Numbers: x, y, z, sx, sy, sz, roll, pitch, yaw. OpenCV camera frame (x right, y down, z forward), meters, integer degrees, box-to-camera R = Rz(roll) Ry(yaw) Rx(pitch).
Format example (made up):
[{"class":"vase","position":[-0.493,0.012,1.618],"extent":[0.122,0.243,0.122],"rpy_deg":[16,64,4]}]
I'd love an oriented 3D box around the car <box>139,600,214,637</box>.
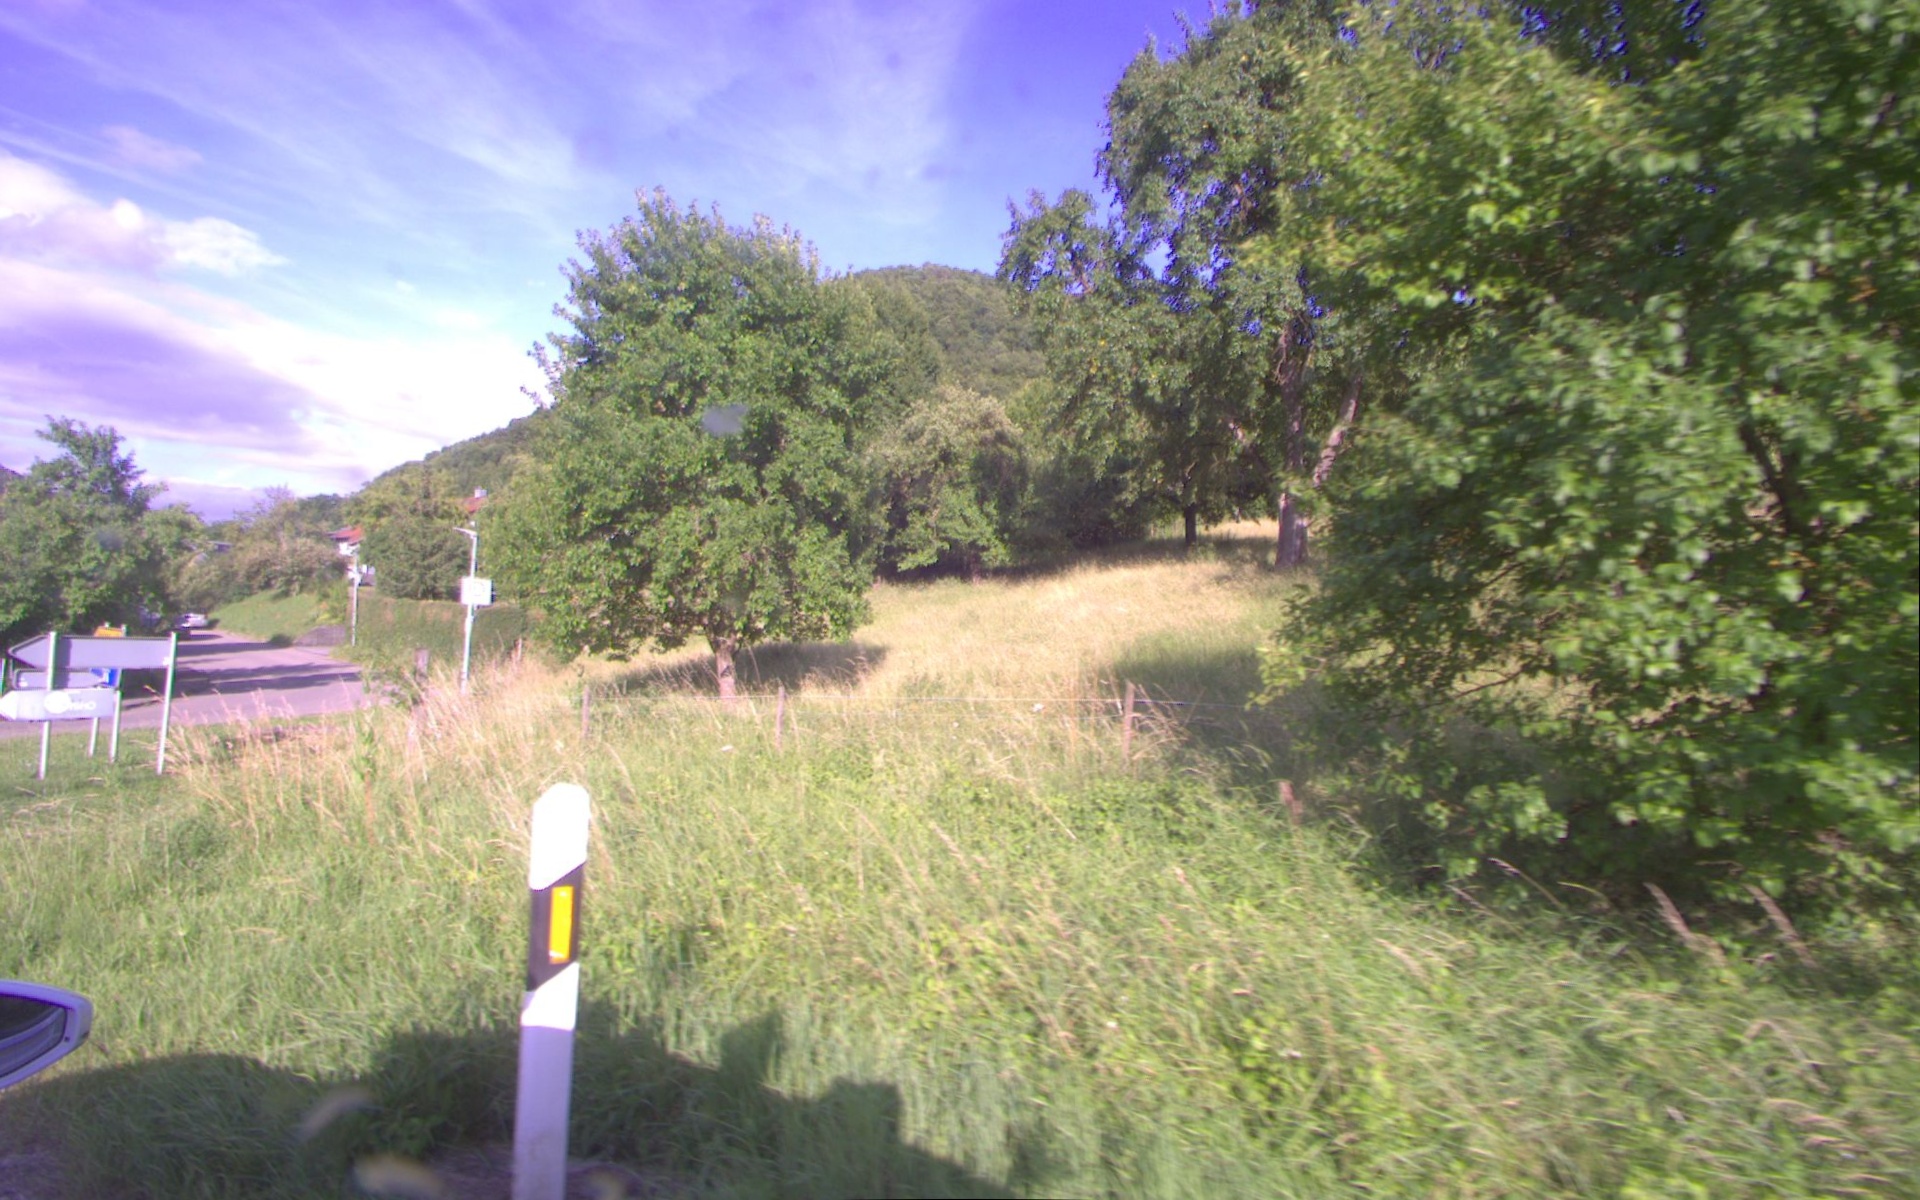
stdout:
[{"class":"car","position":[-42.628,0.995,54.472],"extent":[4.808,1.900,1.988],"rpy_deg":[0,-3,37]}]

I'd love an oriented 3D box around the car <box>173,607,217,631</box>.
[{"class":"car","position":[-49.375,1.233,64.606],"extent":[1.979,1.482,3.965],"rpy_deg":[1,-2,-42]}]
